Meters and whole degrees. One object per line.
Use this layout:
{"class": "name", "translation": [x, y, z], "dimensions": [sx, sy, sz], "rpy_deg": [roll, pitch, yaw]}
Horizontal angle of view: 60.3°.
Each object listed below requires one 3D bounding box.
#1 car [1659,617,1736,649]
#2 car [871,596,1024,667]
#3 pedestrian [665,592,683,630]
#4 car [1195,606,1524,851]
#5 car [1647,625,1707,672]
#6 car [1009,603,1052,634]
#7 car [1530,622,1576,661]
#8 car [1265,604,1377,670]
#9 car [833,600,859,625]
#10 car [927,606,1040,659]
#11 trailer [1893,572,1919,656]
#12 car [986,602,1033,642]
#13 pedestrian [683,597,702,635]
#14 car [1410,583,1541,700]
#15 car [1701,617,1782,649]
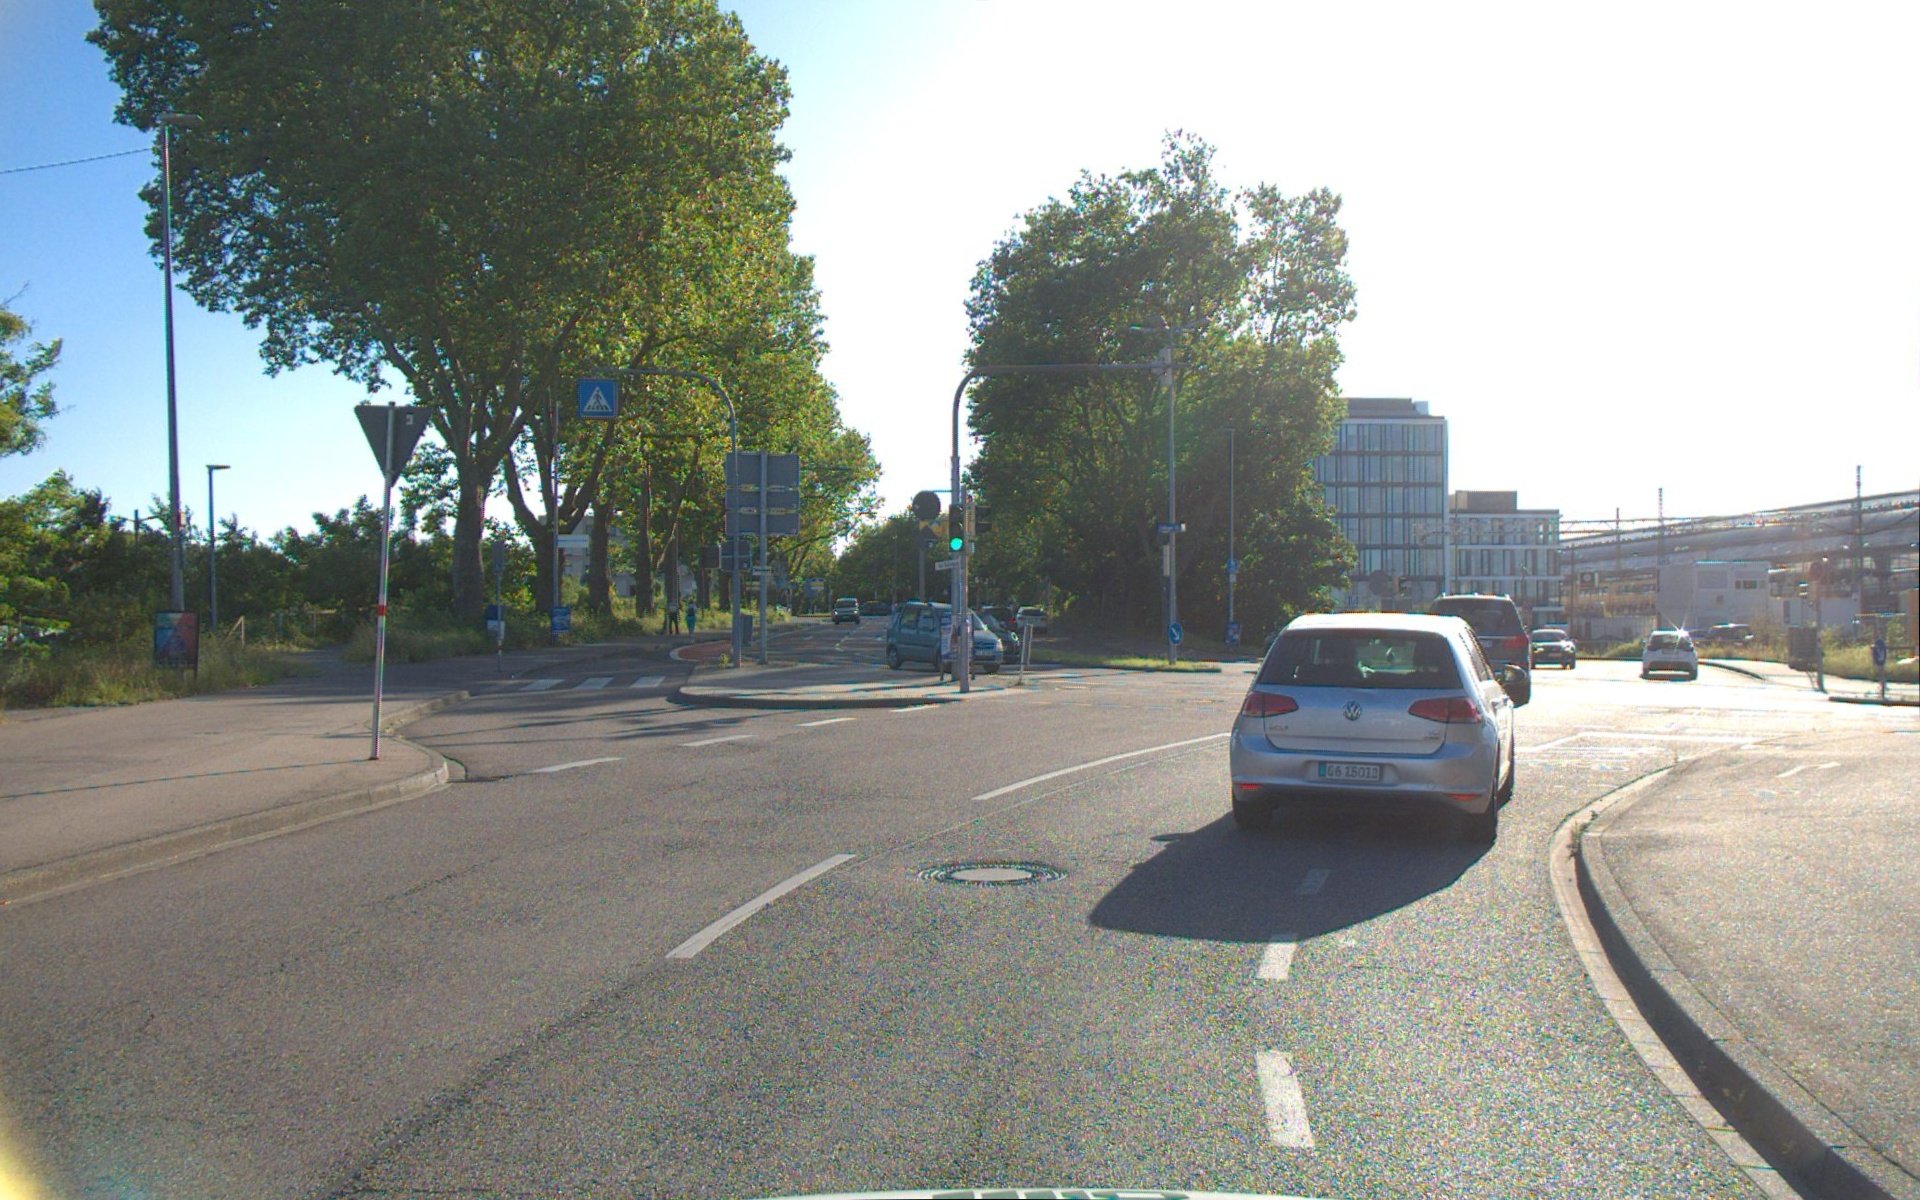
{"class": "car", "translation": [44.593, 2.005, 100.046], "dimensions": [3.903, 1.819, 1.656], "rpy_deg": [1, -1, 5]}
{"class": "car", "translation": [-0.360, 0.761, 41.399], "dimensions": [1.898, 1.664, 4.072], "rpy_deg": [2, -1, -34]}
{"class": "pedestrian", "translation": [-12.511, 0.477, 72.340], "dimensions": [0.650, 1.614, 0.631], "rpy_deg": [0, -1, -1]}
{"class": "car", "translation": [3.068, 0.786, 12.082], "dimensions": [1.929, 1.452, 3.937], "rpy_deg": [0, 0, 20]}
{"class": "car", "translation": [24.519, 1.626, 56.504], "dimensions": [1.714, 1.502, 3.996], "rpy_deg": [0, 0, 26]}
{"class": "car", "translation": [3.923, 1.031, 92.518], "dimensions": [1.817, 1.679, 4.261], "rpy_deg": [1, 0, -5]}
{"class": "car", "translation": [24.096, 1.673, 67.280], "dimensions": [1.711, 1.502, 4.001], "rpy_deg": [0, 0, 19]}
{"class": "car", "translation": [9.994, 0.993, 46.111], "dimensions": [1.904, 1.743, 4.196], "rpy_deg": [1, 0, -5]}
{"class": "car", "translation": [-8.345, 0.943, 121.269], "dimensions": [1.817, 1.774, 4.262], "rpy_deg": [0, 0, -4]}
{"class": "car", "translation": [0.631, 0.923, 47.909], "dimensions": [1.876, 1.452, 3.909], "rpy_deg": [1, -1, -22]}
{"class": "trailer", "translation": [40.561, 0.653, 68.475], "dimensions": [2.937, 3.349, 6.661], "rpy_deg": [1, -1, 26]}
{"class": "car", "translation": [2.225, 0.990, 75.441], "dimensions": [1.816, 1.774, 4.263], "rpy_deg": [0, 0, -3]}
{"class": "pedestrian", "translation": [-11.676, 0.688, 72.199], "dimensions": [0.713, 1.620, 0.804], "rpy_deg": [0, -1, -1]}
{"class": "car", "translation": [9.187, 0.707, 29.781], "dimensions": [2.068, 1.920, 4.815], "rpy_deg": [0, -1, 16]}
{"class": "car", "translation": [45.360, 1.889, 96.059], "dimensions": [3.903, 1.735, 1.616], "rpy_deg": [1, -1, 5]}
